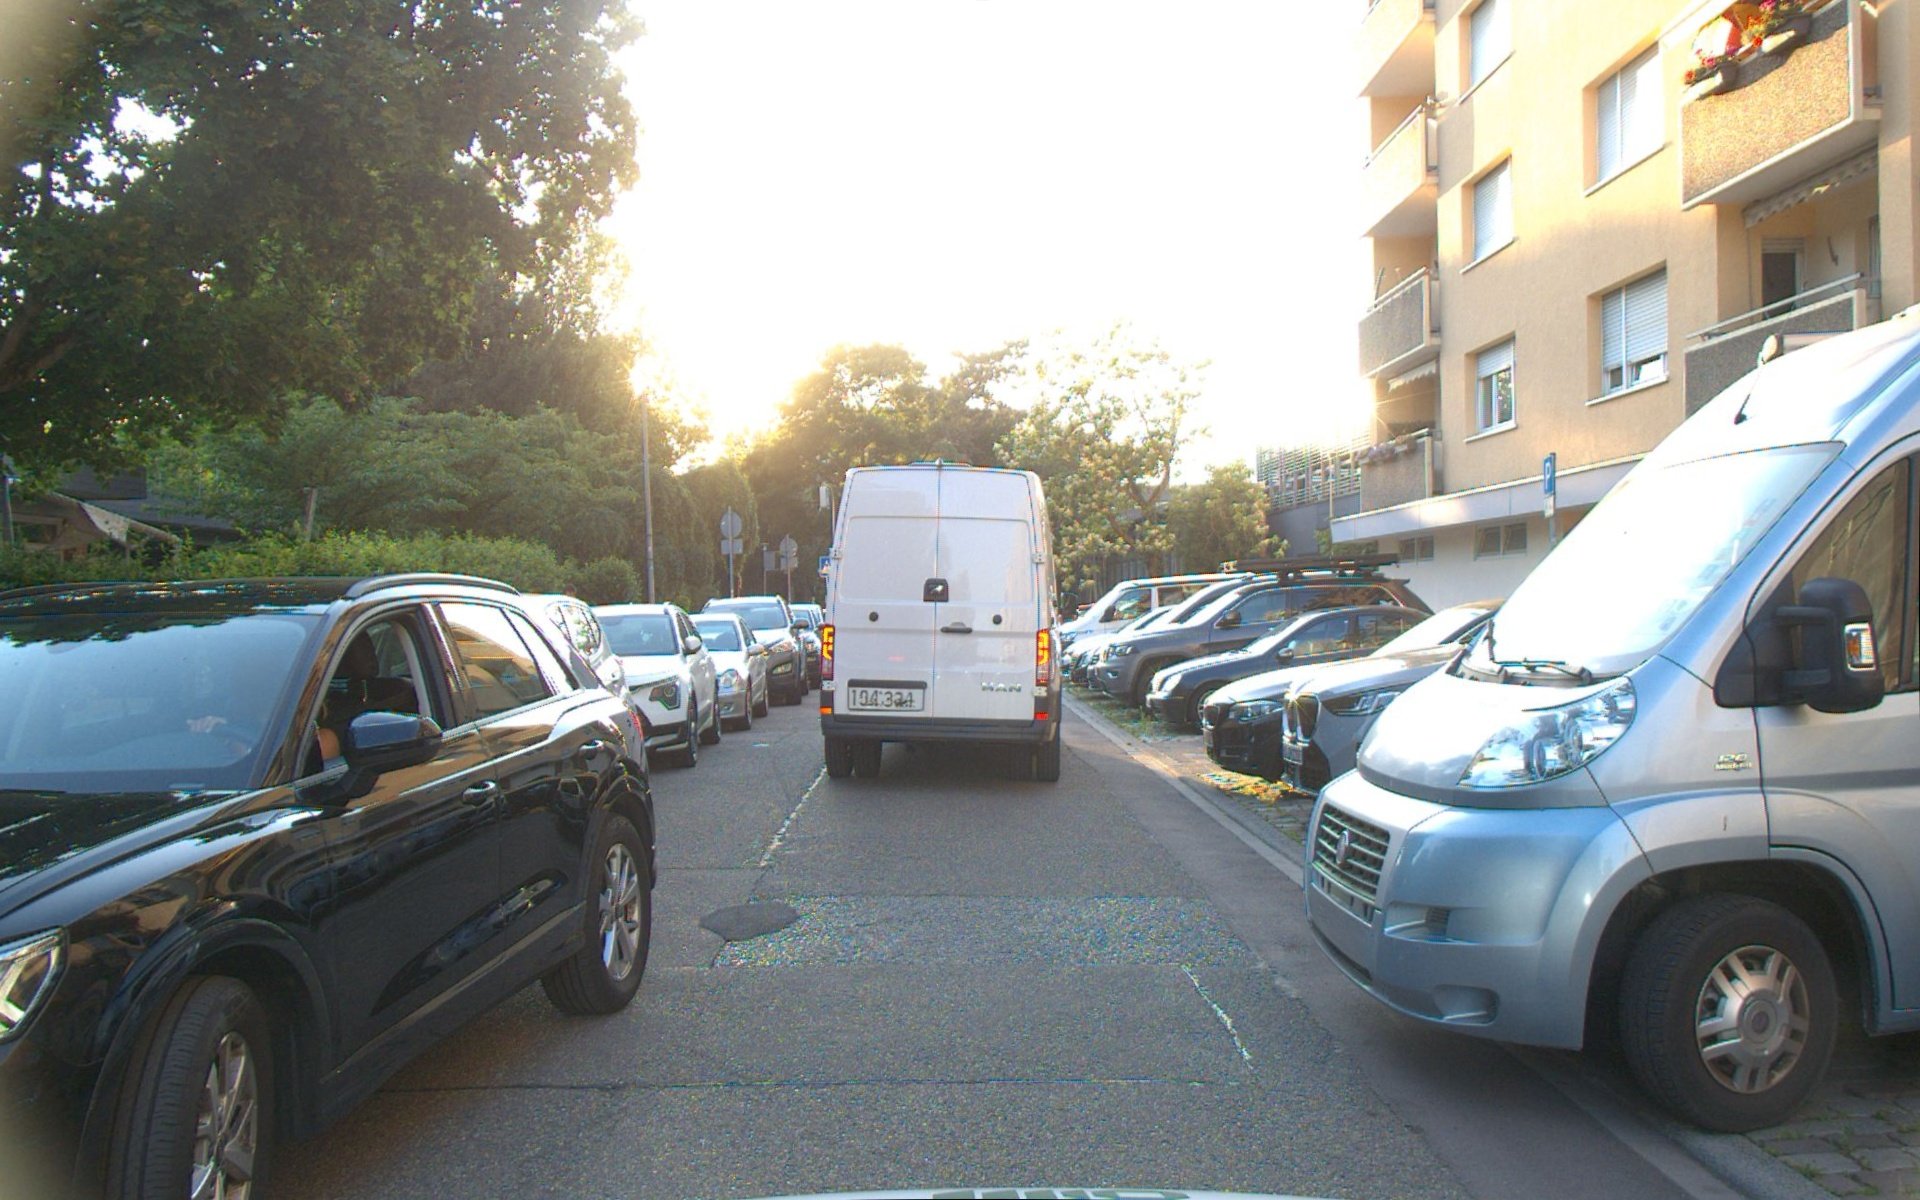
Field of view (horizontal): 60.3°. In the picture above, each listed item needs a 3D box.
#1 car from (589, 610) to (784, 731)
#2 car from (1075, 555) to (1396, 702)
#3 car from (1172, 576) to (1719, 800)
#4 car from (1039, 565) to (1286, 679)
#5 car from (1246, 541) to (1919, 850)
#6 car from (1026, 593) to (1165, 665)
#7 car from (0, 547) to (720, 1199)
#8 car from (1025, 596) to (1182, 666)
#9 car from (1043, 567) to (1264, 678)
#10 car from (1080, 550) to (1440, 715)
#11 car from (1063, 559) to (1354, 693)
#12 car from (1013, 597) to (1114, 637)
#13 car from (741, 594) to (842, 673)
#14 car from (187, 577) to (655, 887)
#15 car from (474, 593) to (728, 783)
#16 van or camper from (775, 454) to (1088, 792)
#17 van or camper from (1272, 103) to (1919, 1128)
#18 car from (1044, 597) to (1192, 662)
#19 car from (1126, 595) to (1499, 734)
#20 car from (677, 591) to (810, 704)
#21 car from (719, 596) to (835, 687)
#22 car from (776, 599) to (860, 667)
[{"bbox_3d":[-3.452,0.845,21.611,1.953,1.422,3.999,0,0,-1],"label":"car"},{"bbox_3d":[4.182,0.429,25.653,4.611,2.183,1.999,0,0,-2],"label":"car"},{"bbox_3d":[3.916,0.675,13.749,3.910,1.479,1.833,-4,0,-5],"label":"car"},{"bbox_3d":[3.942,0.428,32.755,4.611,2.183,1.999,0,0,-2],"label":"car"},{"bbox_3d":[4.322,0.561,11.167,4.350,1.758,1.770,-2,0,-7],"label":"car"},{"bbox_3d":[3.899,0.836,48.163,3.905,2.049,2.000,0,0,1],"label":"car"},{"bbox_3d":[-2.163,0.737,4.815,1.766,1.597,4.568,-1,0,6],"label":"car"},{"bbox_3d":[3.670,0.790,42.801,3.905,1.758,2.000,0,0,0],"label":"car"},{"bbox_3d":[4.031,0.465,34.941,4.405,2.269,2.031,0,0,-2],"label":"car"},{"bbox_3d":[4.076,0.426,23.011,4.611,2.183,1.999,0,0,-2],"label":"car"},{"bbox_3d":[4.134,0.429,28.080,4.611,2.183,1.999,0,0,-2],"label":"car"},{"bbox_3d":[4.242,0.693,68.124,3.909,1.646,1.998,0,0,-5],"label":"car"},{"bbox_3d":[-3.638,0.694,36.350,1.953,1.646,3.998,0,0,-2],"label":"car"},{"bbox_3d":[-3.414,0.749,11.337,1.746,1.659,4.001,-3,0,1],"label":"car"},{"bbox_3d":[-3.420,0.770,16.513,1.819,1.582,4.097,-2,0,-4],"label":"car"},{"bbox_3d":[-0.078,0.176,15.937,2.402,2.591,6.085,1,0,3],"label":"van or camper"},{"bbox_3d":[4.190,0.052,5.711,5.809,2.818,2.109,0,0,-2],"label":"van or camper"},{"bbox_3d":[4.331,0.804,45.850,3.905,1.758,2.000,0,0,0],"label":"car"},{"bbox_3d":[4.243,0.754,20.328,4.151,1.450,1.719,-2,0,-2],"label":"car"},{"bbox_3d":[-3.426,0.717,26.834,1.954,1.691,3.996,0,0,-5],"label":"car"},{"bbox_3d":[-3.469,0.760,32.040,1.953,1.646,3.998,0,0,-2],"label":"car"},{"bbox_3d":[-3.553,0.811,42.070,1.953,1.646,3.998,0,0,-2],"label":"car"}]
